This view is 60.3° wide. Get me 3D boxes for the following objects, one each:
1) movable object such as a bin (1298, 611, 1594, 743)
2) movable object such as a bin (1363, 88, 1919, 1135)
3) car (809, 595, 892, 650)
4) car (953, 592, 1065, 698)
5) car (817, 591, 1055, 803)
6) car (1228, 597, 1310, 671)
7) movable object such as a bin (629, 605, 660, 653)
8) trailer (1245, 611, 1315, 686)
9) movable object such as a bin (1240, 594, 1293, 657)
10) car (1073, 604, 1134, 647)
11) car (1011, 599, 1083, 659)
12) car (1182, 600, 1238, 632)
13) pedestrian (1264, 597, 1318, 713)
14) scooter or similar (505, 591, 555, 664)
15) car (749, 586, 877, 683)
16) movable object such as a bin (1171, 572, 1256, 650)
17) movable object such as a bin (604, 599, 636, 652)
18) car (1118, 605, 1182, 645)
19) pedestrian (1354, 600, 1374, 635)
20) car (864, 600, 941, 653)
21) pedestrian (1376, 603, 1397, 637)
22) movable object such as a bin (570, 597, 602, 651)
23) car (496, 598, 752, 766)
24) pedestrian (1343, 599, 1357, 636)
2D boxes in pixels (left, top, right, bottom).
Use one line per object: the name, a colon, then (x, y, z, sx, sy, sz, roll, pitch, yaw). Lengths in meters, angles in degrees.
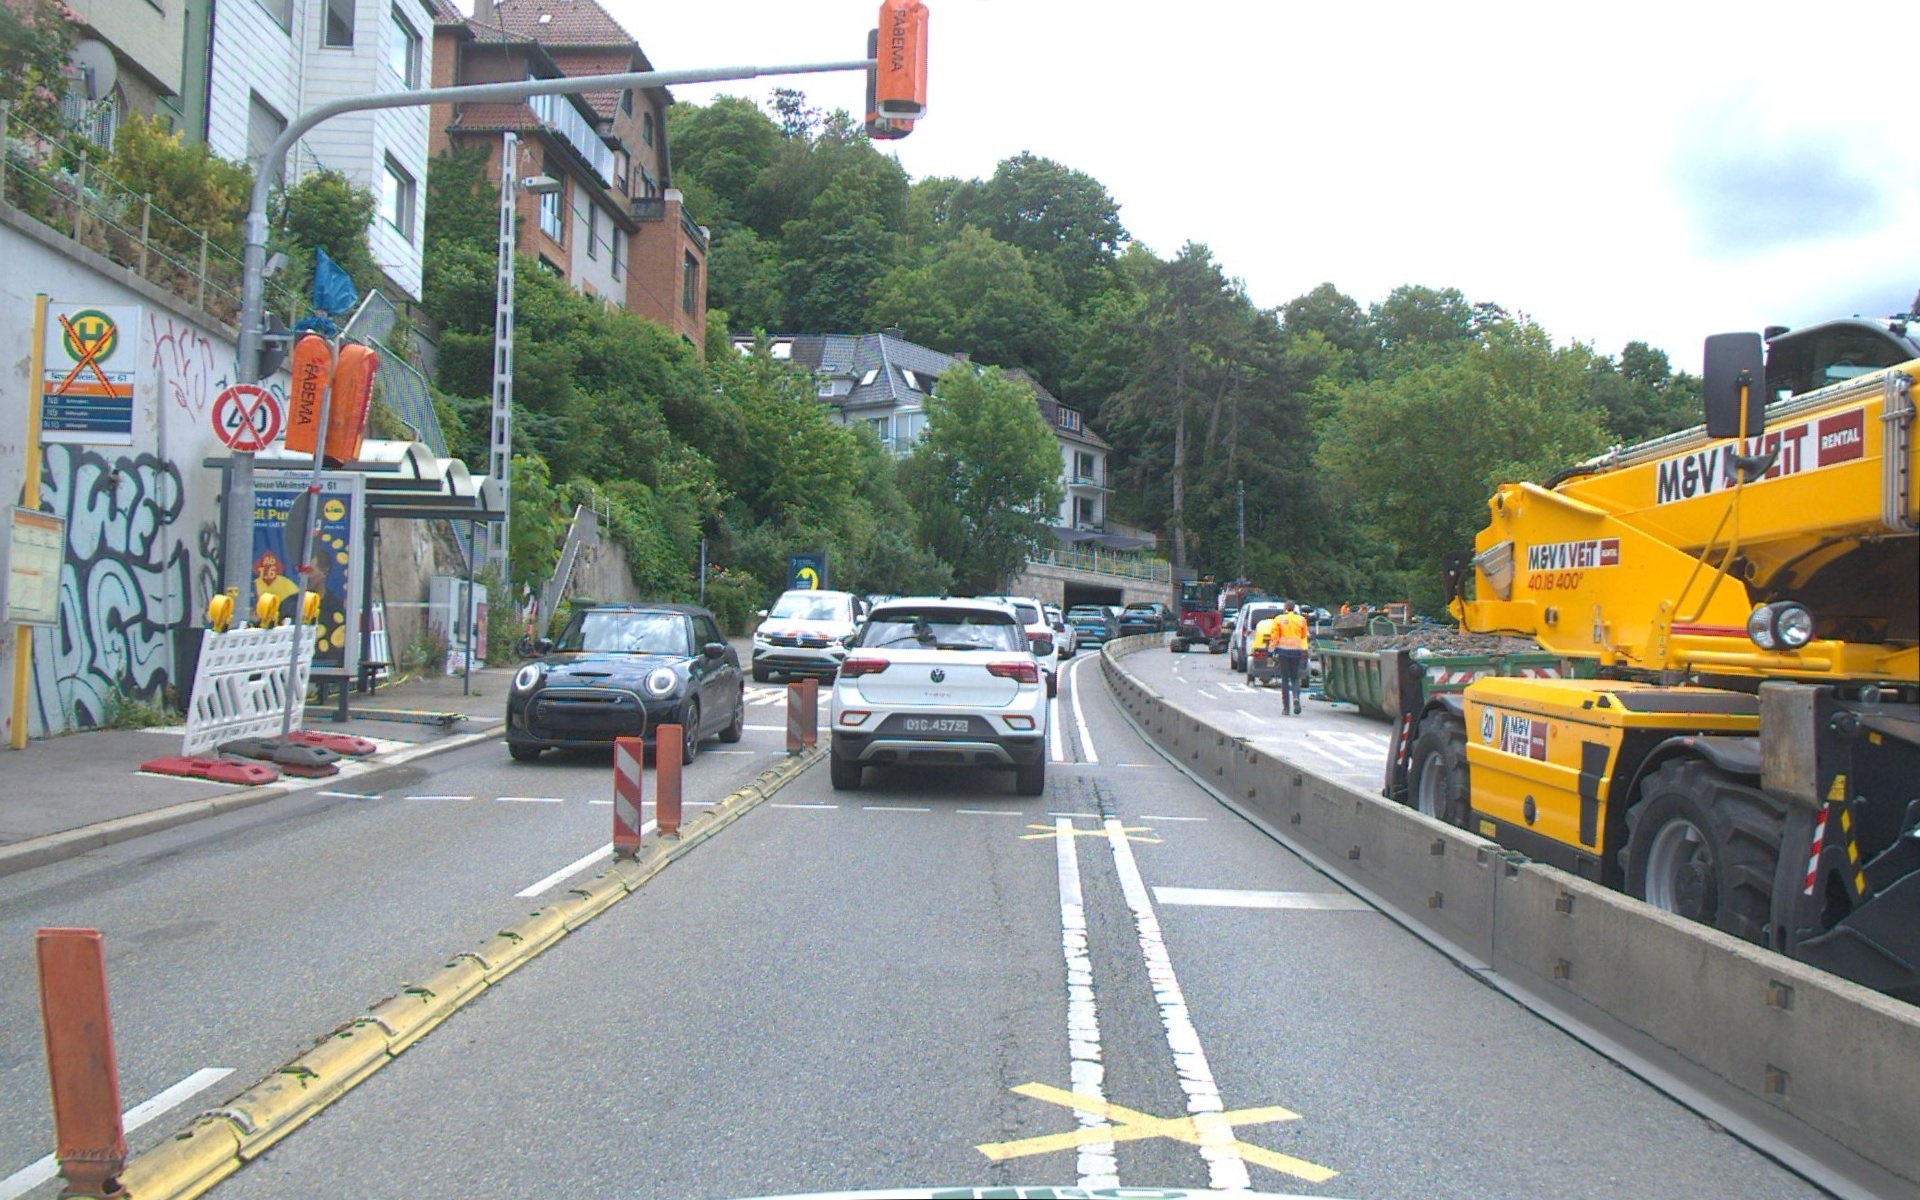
movable object such as a bin: (6.954, 1.015, 24.723, 2.325, 1.589, 7.099, 2, 0, 0)
movable object such as a bin: (4.173, 0.051, 6.885, 2.755, 3.124, 7.820, 2, 0, -2)
car: (-3.386, 0.679, 51.965, 1.756, 1.536, 4.003, 4, 0, 7)
car: (0.908, 0.732, 28.569, 1.771, 1.692, 4.002, 0, 0, 4)
car: (-0.084, 0.743, 14.582, 1.772, 1.558, 4.001, 2, 0, 3)
car: (8.120, 0.863, 43.778, 1.794, 1.811, 4.271, 1, 0, 6)
movable object such as a bin: (-6.523, 0.598, 34.254, 0.458, 0.950, 0.624, 3, 0, 1)
trailer: (6.903, 1.010, 35.881, 1.261, 1.501, 3.637, 2, 0, 8)
movable object such as a bin: (10.372, 0.833, 56.099, 1.665, 1.977, 4.168, 2, 0, 10)
car: (5.391, 0.933, 61.709, 1.756, 1.537, 4.003, 0, 0, 13)
car: (2.621, 0.822, 49.062, 1.771, 1.692, 4.003, 0, 0, 9)
car: (13.816, 0.870, 91.301, 1.776, 1.692, 3.993, 0, 0, 29)
pedestrian: (5.108, 0.840, 25.556, 0.632, 1.731, 0.850, 2, 0, 2)
scooter or similar: (-7.546, 0.477, 29.061, 0.450, 1.226, 1.435, 3, 0, -1)
car: (-2.645, 0.598, 30.607, 1.803, 1.627, 4.264, 1, 0, 2)
movable object such as a bin: (9.337, 0.398, 60.606, 2.165, 2.709, 4.946, 2, 0, 19)
movable object such as a bin: (-7.051, 0.528, 34.289, 0.458, 1.072, 0.624, 3, 0, 1)
car: (8.303, 1.073, 72.036, 1.773, 1.692, 3.999, 0, 0, 22)
pedestrian: (21.483, 0.946, 87.994, 0.858, 1.854, 0.878, 1, 0, 24)
car: (-1.602, 0.730, 47.520, 1.689, 1.445, 3.823, 0, 0, 6)
pedestrian: (21.938, 1.012, 85.000, 0.771, 1.717, 0.781, 0, 0, 40)
movable object such as a bin: (-7.749, 0.494, 34.294, 0.458, 1.072, 0.624, 3, 0, 1)
car: (-3.155, 0.725, 16.201, 1.637, 1.455, 3.588, 0, 0, 2)
pedestrian: (20.337, 0.920, 86.333, 0.675, 1.940, 0.826, 1, 0, 12)
